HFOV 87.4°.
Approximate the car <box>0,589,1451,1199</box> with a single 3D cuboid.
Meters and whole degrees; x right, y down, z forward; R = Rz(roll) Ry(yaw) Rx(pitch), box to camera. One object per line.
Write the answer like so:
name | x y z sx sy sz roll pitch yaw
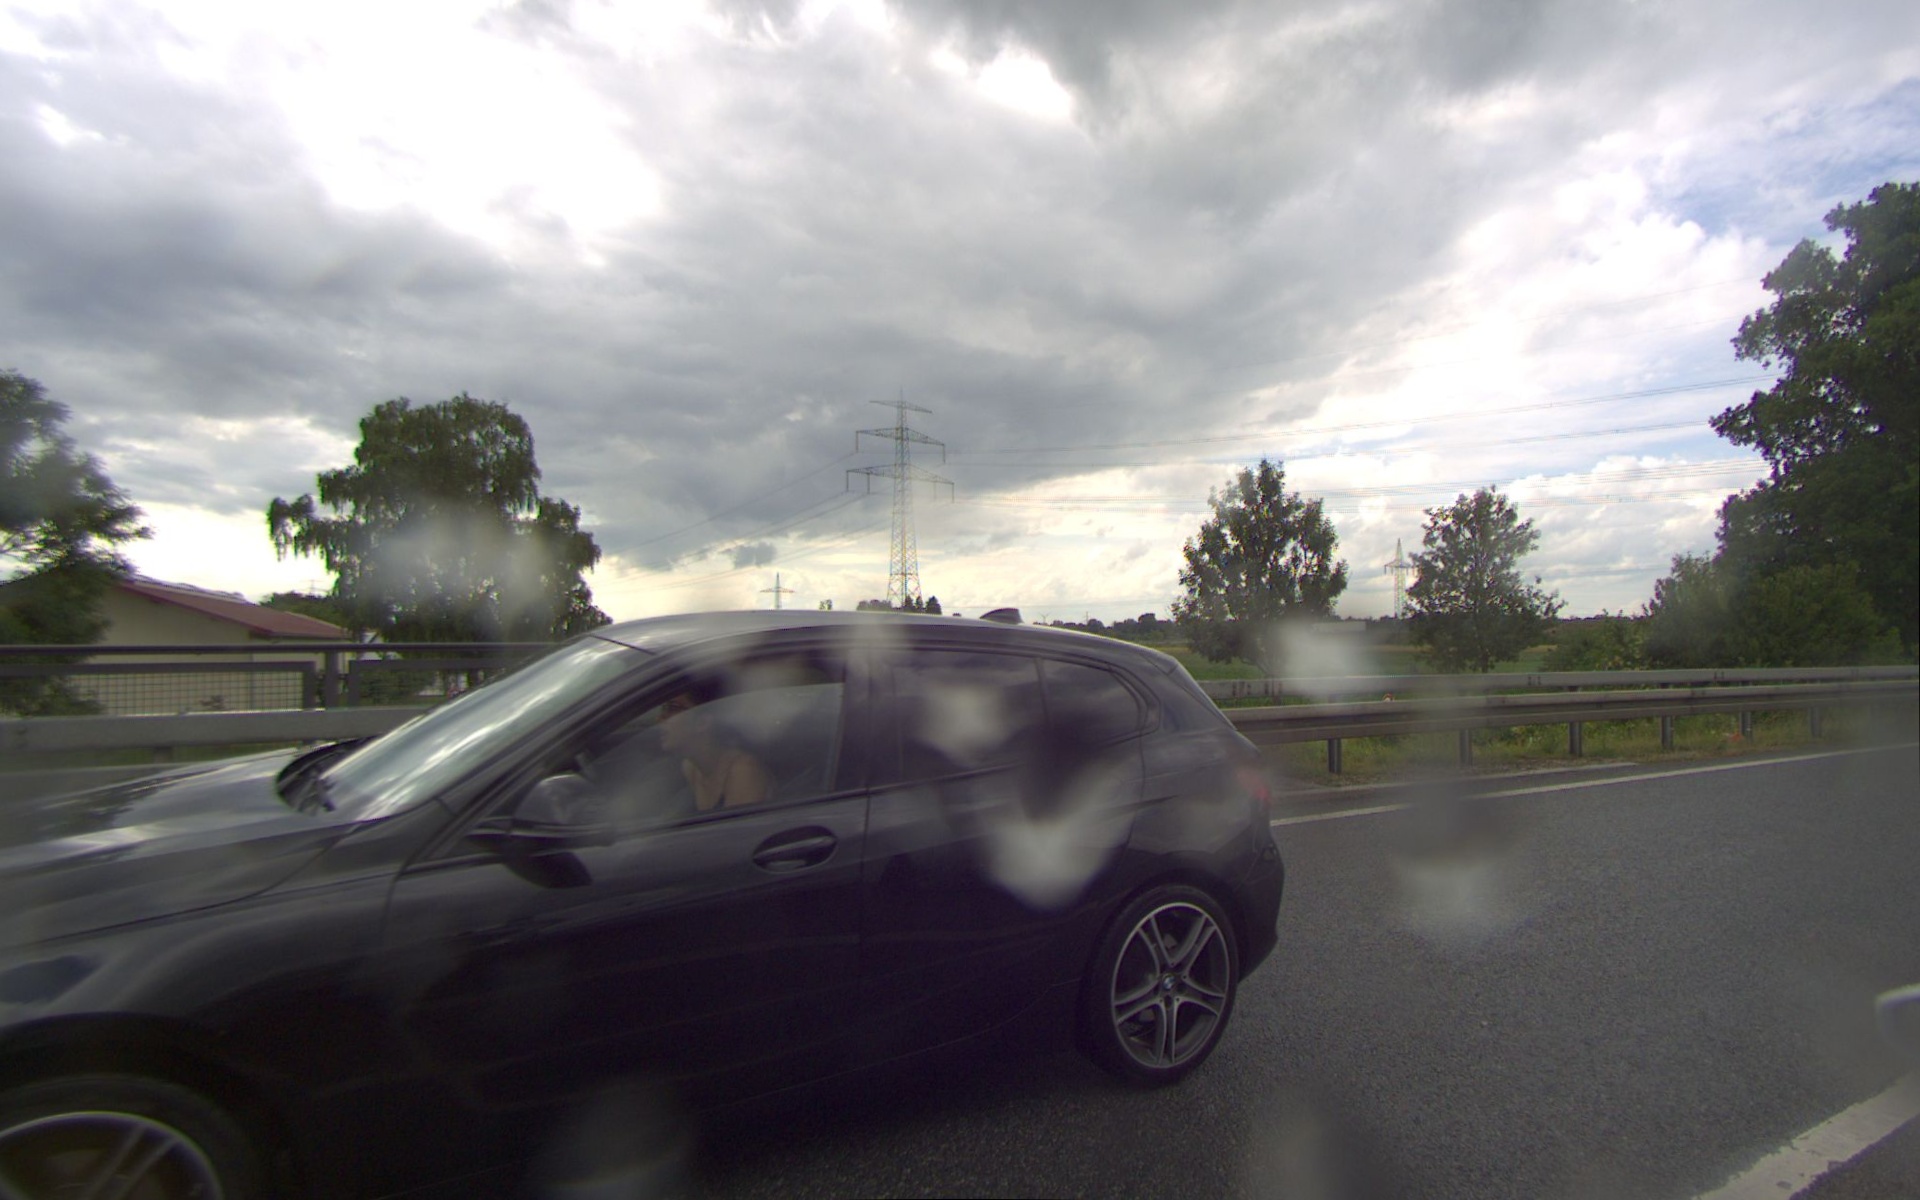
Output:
car | -0.477 0.744 3.317 4.281 1.418 1.688 2 -1 -30
